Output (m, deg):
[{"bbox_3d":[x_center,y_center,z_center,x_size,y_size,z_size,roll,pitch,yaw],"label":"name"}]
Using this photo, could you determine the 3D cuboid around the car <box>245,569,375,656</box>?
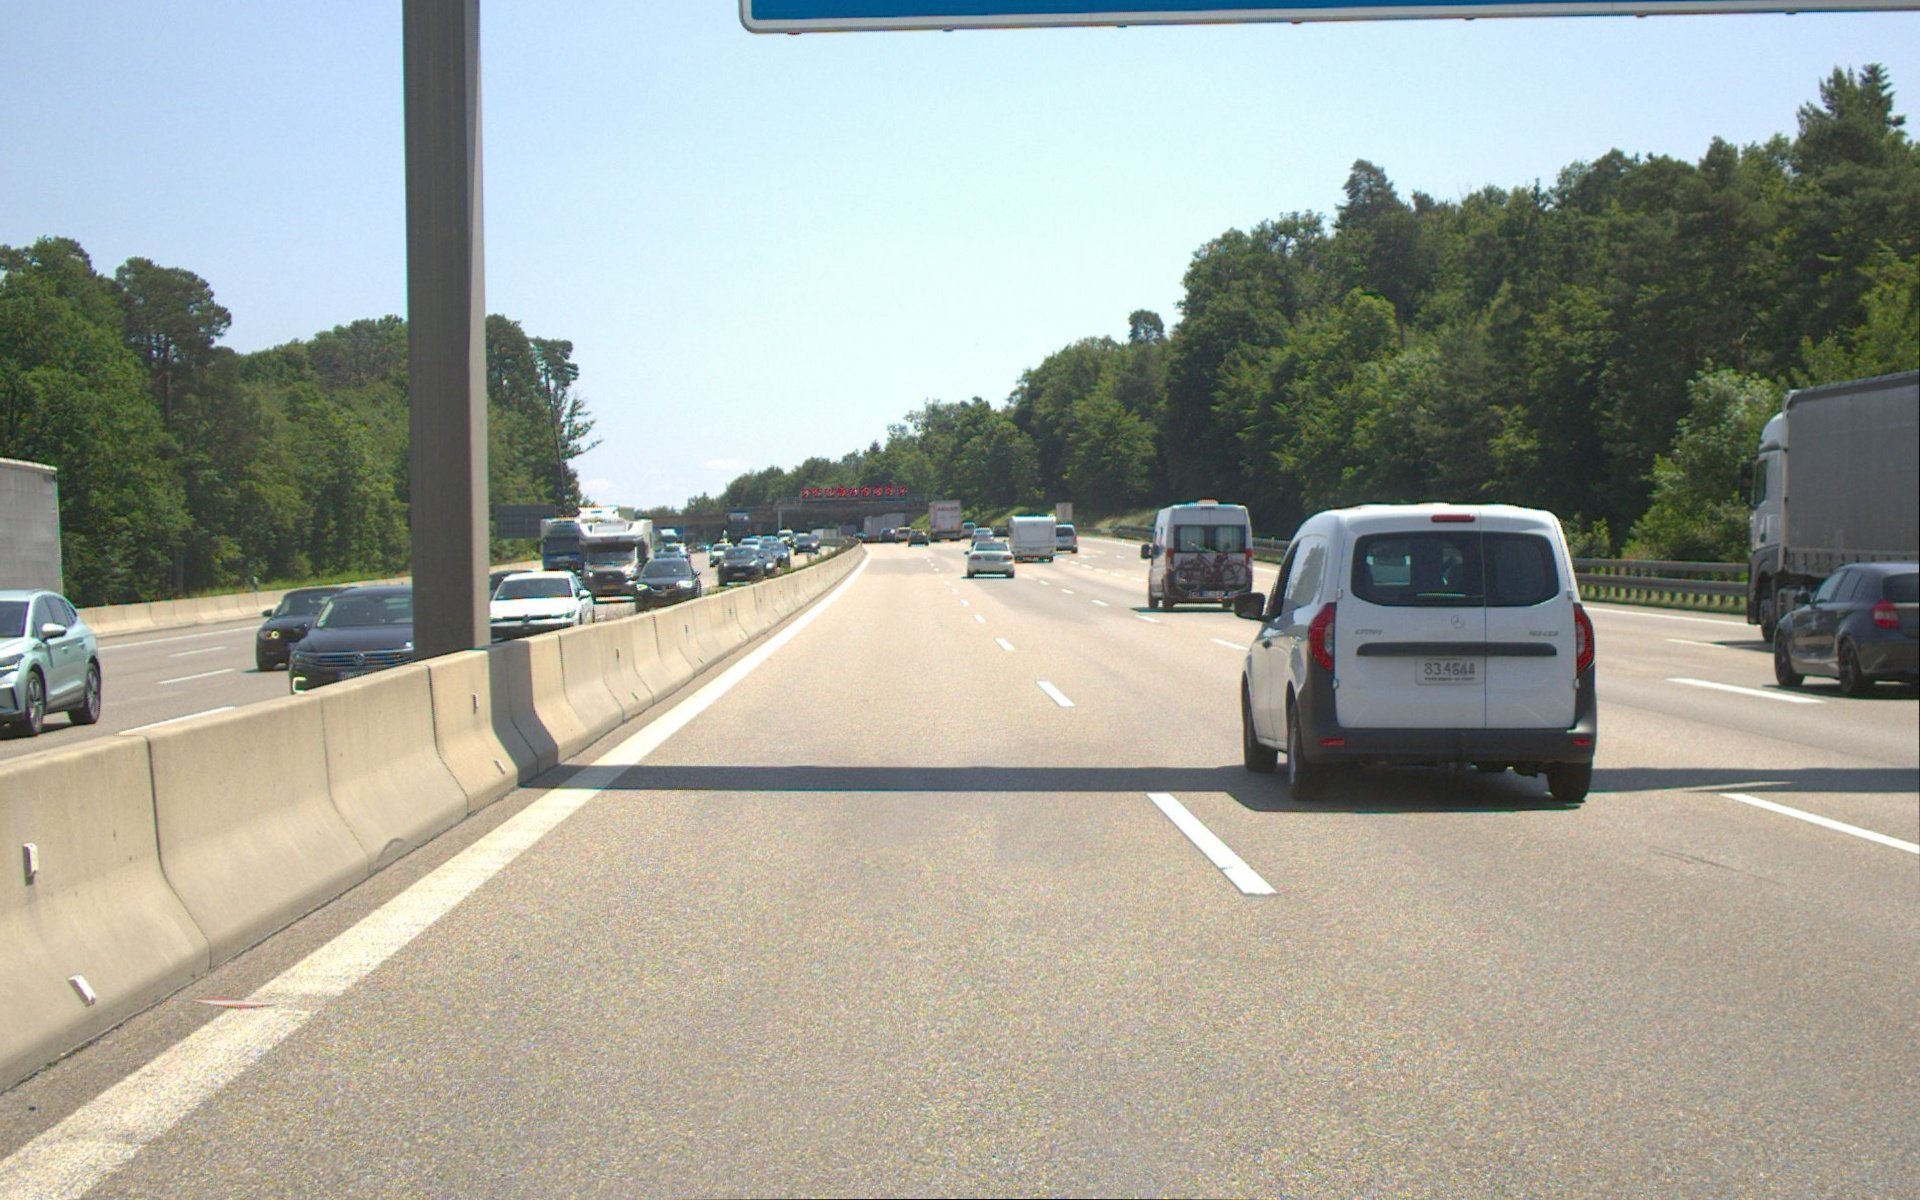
[{"bbox_3d":[-11.586,0.199,61.517,1.548,1.437,4.725,-1,1,-2],"label":"car"}]

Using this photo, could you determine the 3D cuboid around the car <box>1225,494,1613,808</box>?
[{"bbox_3d":[2.835,0.284,22.197,1.859,1.819,4.612,0,0,0],"label":"car"}]

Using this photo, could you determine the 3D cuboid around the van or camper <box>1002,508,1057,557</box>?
[{"bbox_3d":[3.712,-3.613,185.244,2.645,2.530,6.502,-1,0,-1],"label":"van or camper"}]

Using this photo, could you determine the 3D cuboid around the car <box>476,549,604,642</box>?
[{"bbox_3d":[-7.958,-0.114,65.533,1.846,1.545,5.215,-4,1,-2],"label":"car"}]

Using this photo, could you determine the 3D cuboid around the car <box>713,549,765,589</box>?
[{"bbox_3d":[-9.447,-1.329,147.060,1.993,1.612,4.000,-1,1,-1],"label":"car"}]

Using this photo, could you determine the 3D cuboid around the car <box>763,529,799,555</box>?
[{"bbox_3d":[-9.866,-3.193,189.360,1.835,1.333,3.643,-1,1,-1],"label":"car"}]

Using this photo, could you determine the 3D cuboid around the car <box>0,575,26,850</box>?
[{"bbox_3d":[-6.755,0.743,19.261,1.812,1.667,4.476,-2,1,0],"label":"car"}]

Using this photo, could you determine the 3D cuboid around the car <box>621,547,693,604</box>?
[{"bbox_3d":[-8.624,-0.726,98.280,1.723,1.532,5.056,-2,1,-2],"label":"car"}]

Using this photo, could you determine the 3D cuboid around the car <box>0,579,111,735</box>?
[{"bbox_3d":[-10.935,0.591,38.364,1.817,1.584,4.883,-1,1,-2],"label":"car"}]

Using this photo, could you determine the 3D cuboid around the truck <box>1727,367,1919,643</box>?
[{"bbox_3d":[14.423,-1.460,54.065,3.254,4.092,5.988,0,1,-1],"label":"truck"}]

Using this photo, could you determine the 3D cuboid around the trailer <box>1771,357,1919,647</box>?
[{"bbox_3d":[14.590,-1.327,47.173,3.287,3.917,13.892,0,1,-1],"label":"trailer"}]

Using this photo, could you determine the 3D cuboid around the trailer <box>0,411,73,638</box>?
[{"bbox_3d":[-19.150,-1.355,62.110,2.754,4.231,13.719,-2,0,-1],"label":"trailer"}]

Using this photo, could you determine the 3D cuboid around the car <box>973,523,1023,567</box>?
[{"bbox_3d":[1.518,-2.198,137.973,1.843,1.623,4.553,-2,0,-1],"label":"car"}]

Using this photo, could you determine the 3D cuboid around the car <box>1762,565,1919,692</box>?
[{"bbox_3d":[9.974,0.282,36.902,1.670,1.269,4.290,-1,0,-1],"label":"car"}]

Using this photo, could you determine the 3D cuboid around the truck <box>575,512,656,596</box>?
[{"bbox_3d":[-12.076,-1.633,121.045,2.138,2.828,7.670,-1,1,-1],"label":"truck"}]

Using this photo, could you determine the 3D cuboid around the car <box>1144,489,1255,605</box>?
[{"bbox_3d":[5.618,-1.270,81.417,2.143,2.643,5.710,0,1,-1],"label":"car"}]

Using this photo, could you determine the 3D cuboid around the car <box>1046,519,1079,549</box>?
[{"bbox_3d":[6.478,-4.193,217.370,1.820,1.853,4.000,-1,1,-1],"label":"car"}]

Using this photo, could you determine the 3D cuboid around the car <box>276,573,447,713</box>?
[{"bbox_3d":[-7.259,0.485,42.000,1.536,1.545,4.071,-1,1,-3],"label":"car"}]
